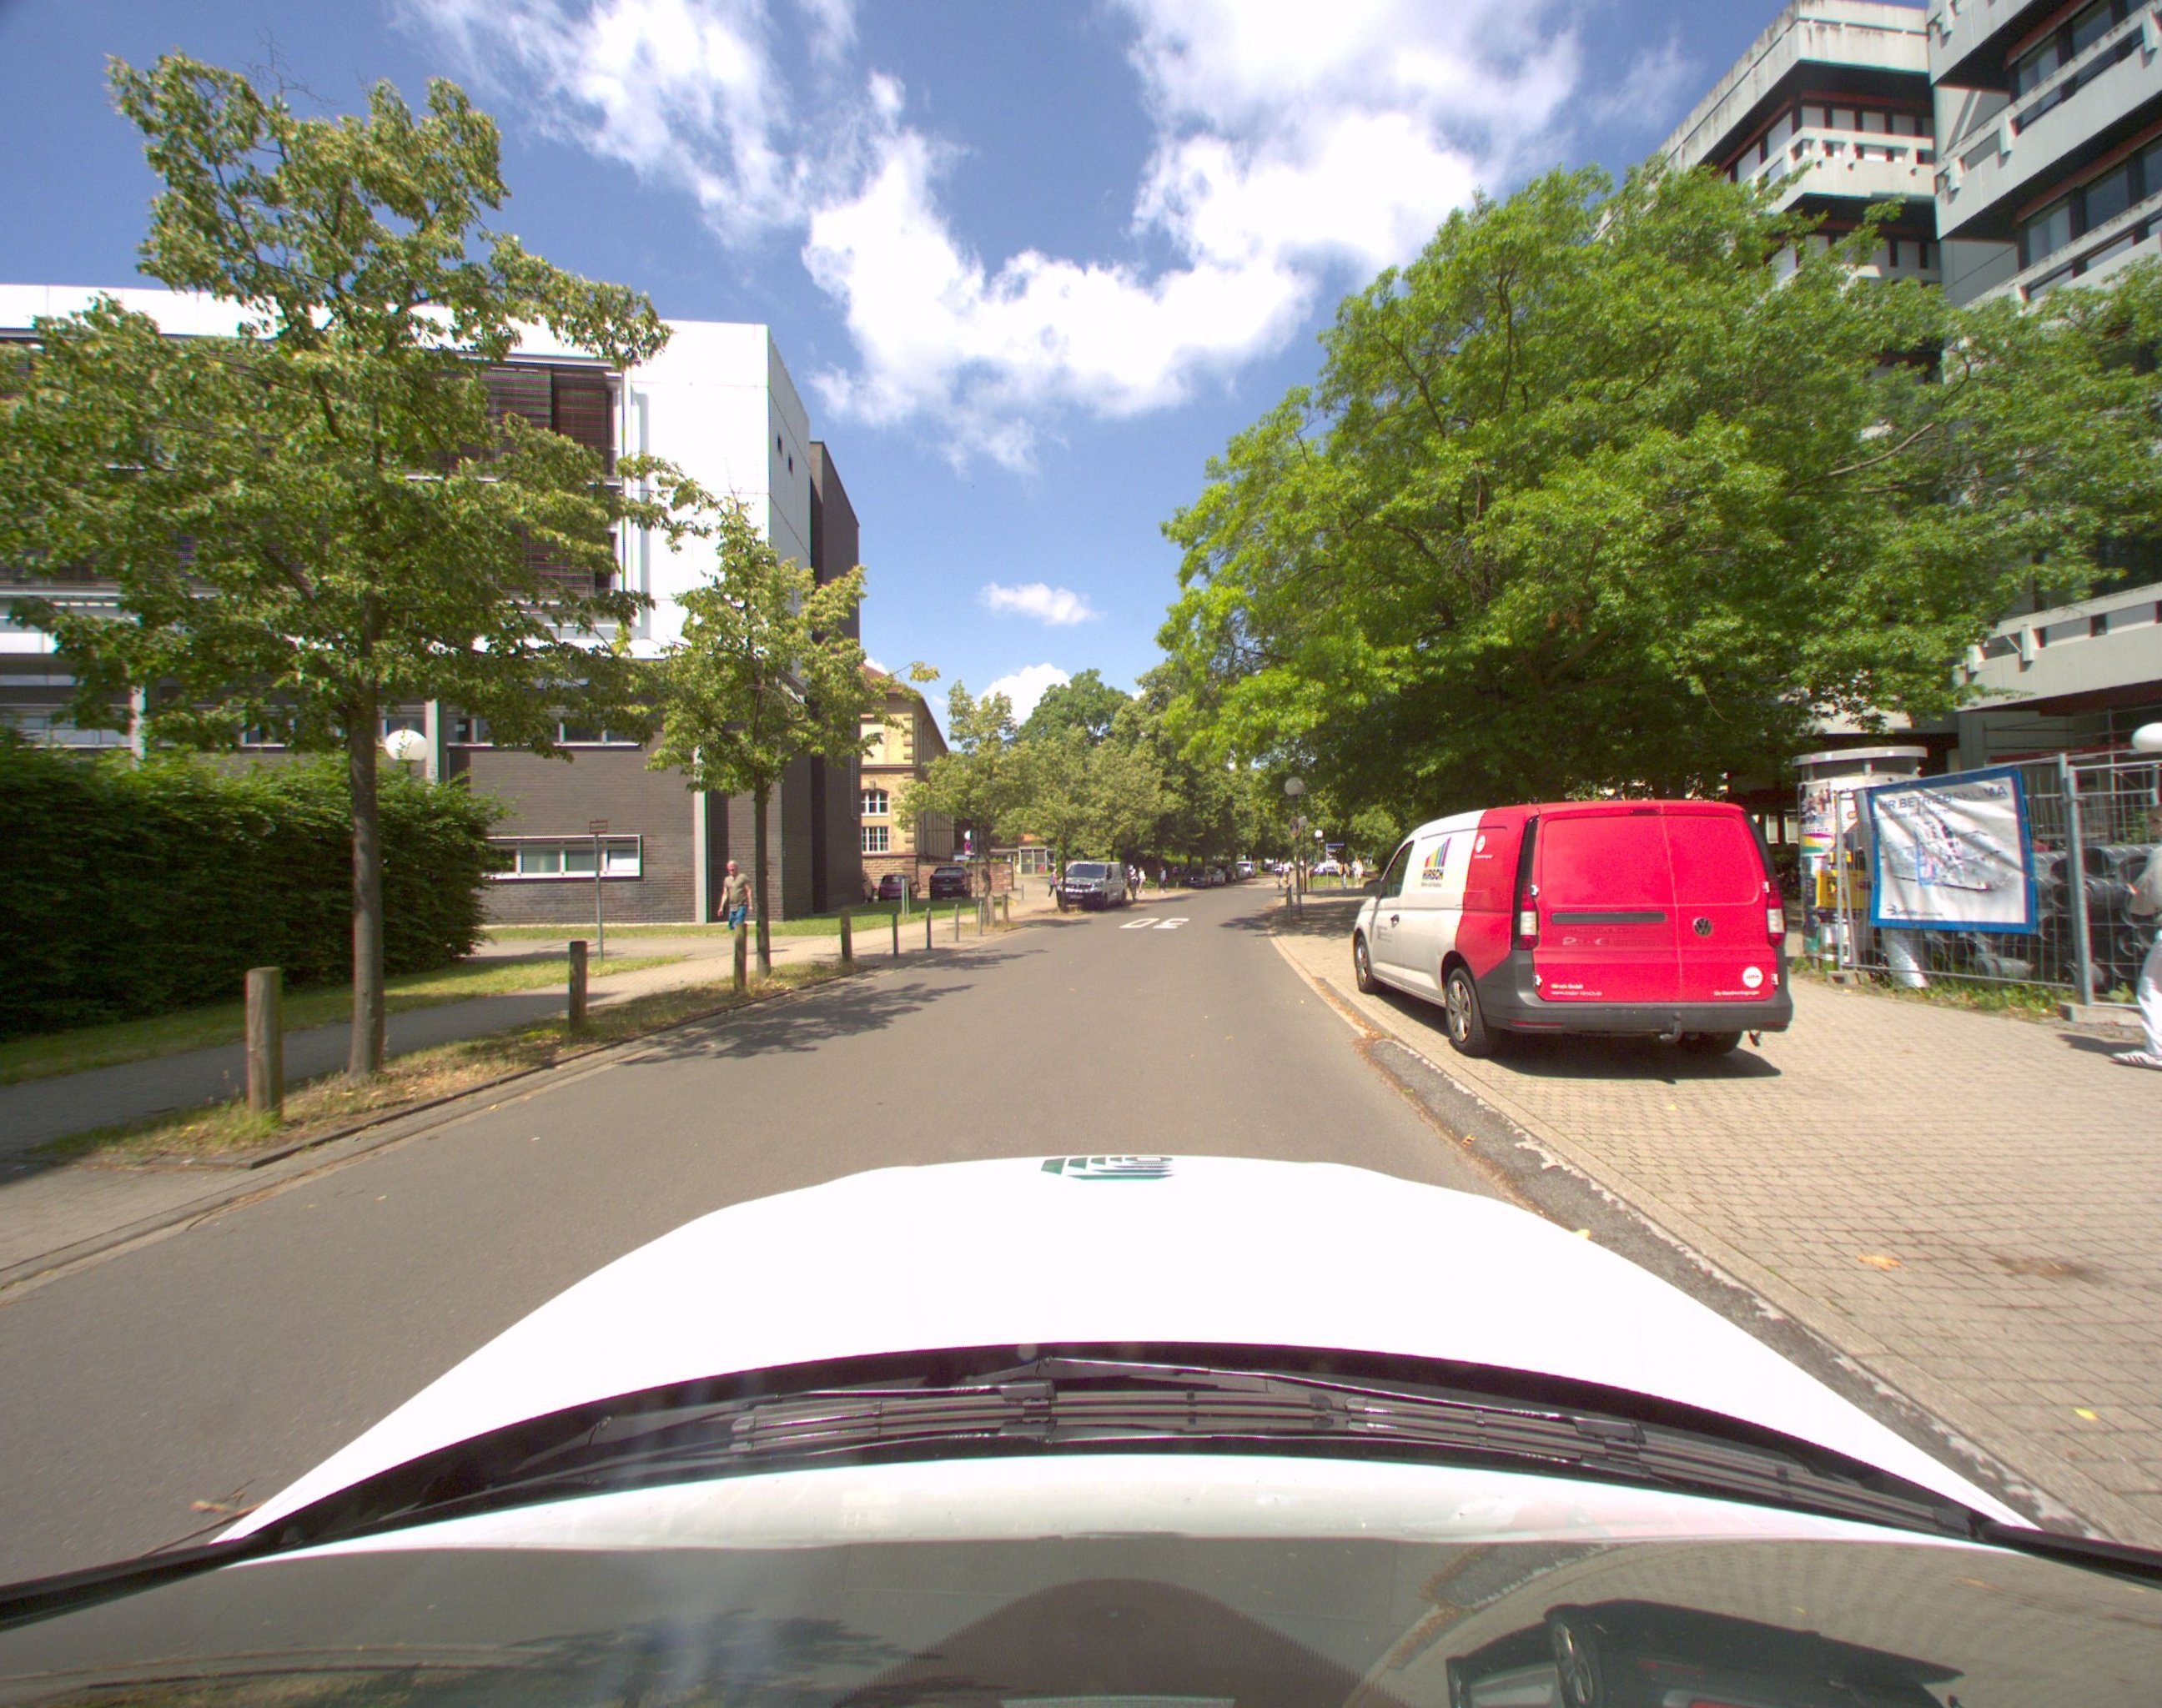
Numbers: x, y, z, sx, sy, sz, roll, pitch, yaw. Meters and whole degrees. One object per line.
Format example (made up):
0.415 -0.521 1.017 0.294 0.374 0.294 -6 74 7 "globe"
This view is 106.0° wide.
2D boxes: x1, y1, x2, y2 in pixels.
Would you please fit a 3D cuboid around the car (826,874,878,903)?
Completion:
-11.357 1.669 40.620 1.815 1.324 4.153 1 -1 -6 "car"

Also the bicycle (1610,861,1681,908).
14.359 0.765 20.764 0.497 1.119 1.872 -1 -1 1 "bicycle"

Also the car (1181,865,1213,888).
8.457 1.606 59.181 1.746 1.522 4.128 -2 -1 16 "car"

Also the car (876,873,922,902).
-9.107 1.653 40.936 1.815 1.324 3.759 -1 -1 -6 "car"

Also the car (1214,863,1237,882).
13.316 1.689 74.947 1.603 1.679 4.016 -2 -1 16 "car"

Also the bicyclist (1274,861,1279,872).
26.189 1.648 108.873 0.559 1.498 0.831 -2 -1 16 "bicyclist"

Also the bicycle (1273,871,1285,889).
11.926 1.564 48.937 0.609 1.001 1.429 -2 -1 16 "bicycle"

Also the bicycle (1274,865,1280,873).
26.220 1.997 108.939 0.573 1.001 1.429 -2 -1 16 "bicycle"

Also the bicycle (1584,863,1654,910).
13.698 0.806 20.800 0.497 1.119 1.940 -1 -1 1 "bicycle"

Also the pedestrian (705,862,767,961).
-6.354 1.033 15.032 0.579 1.764 0.915 -2 -1 15 "pedestrian"

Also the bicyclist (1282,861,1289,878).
16.478 1.245 65.515 0.518 1.296 0.613 -2 -1 16 "bicyclist"

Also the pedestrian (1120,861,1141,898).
2.490 1.293 41.076 0.717 1.857 0.796 -2 -1 33 "pedestrian"

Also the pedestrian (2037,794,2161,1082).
6.521 0.470 4.872 0.707 1.632 0.714 -2 -1 14 "pedestrian"

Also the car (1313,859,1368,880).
21.587 1.302 67.771 4.223 1.588 1.818 -3 -1 17 "car"

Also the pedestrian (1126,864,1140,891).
3.237 1.448 50.658 0.630 1.663 0.598 -1 -1 -28 "pedestrian"

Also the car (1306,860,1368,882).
19.854 1.342 63.144 4.450 1.525 1.818 -3 -1 17 "car"

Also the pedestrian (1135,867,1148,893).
3.665 1.560 49.442 0.586 1.527 0.491 -1 -1 -20 "pedestrian"

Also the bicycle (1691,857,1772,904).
16.266 0.645 20.427 0.497 1.119 1.872 -1 -1 1 "bicycle"

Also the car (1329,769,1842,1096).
3.719 0.507 7.285 1.839 1.891 4.897 -2 -1 5 "car"

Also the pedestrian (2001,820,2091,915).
17.250 0.237 14.566 0.831 1.635 0.719 -1 -1 -17 "pedestrian"

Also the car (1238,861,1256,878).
18.230 1.688 89.539 1.603 1.816 4.016 -2 -1 16 "car"

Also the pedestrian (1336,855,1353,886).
15.159 0.928 46.873 0.813 1.755 0.845 -2 -1 23 "pedestrian"

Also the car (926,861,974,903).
-6.550 1.363 41.228 2.173 1.926 5.173 -1 -1 -7 "car"

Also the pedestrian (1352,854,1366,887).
15.928 0.929 46.629 0.665 1.873 0.796 -2 -1 24 "pedestrian"

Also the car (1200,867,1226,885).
10.855 1.753 66.575 1.603 1.388 4.016 -2 -1 16 "car"

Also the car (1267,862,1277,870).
34.353 2.173 146.171 1.604 1.365 4.580 -2 -1 15 "car"

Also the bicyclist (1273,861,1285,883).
11.917 1.060 48.965 0.605 1.296 0.613 -2 -1 15 "bicyclist"

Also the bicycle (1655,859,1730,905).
15.506 0.696 20.707 0.497 1.119 1.872 -1 -1 1 "bicycle"

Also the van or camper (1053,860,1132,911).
0.591 1.227 33.658 1.939 1.923 5.441 -1 -1 15 "van or camper"

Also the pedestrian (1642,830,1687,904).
14.895 0.334 20.812 0.541 1.837 0.762 -1 -1 1 "pedestrian"

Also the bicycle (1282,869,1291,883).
16.520 1.763 65.400 0.609 1.001 1.429 -2 -1 16 "bicycle"

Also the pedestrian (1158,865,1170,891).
5.164 1.515 50.766 0.497 1.585 0.489 -1 -1 -32 "pedestrian"
